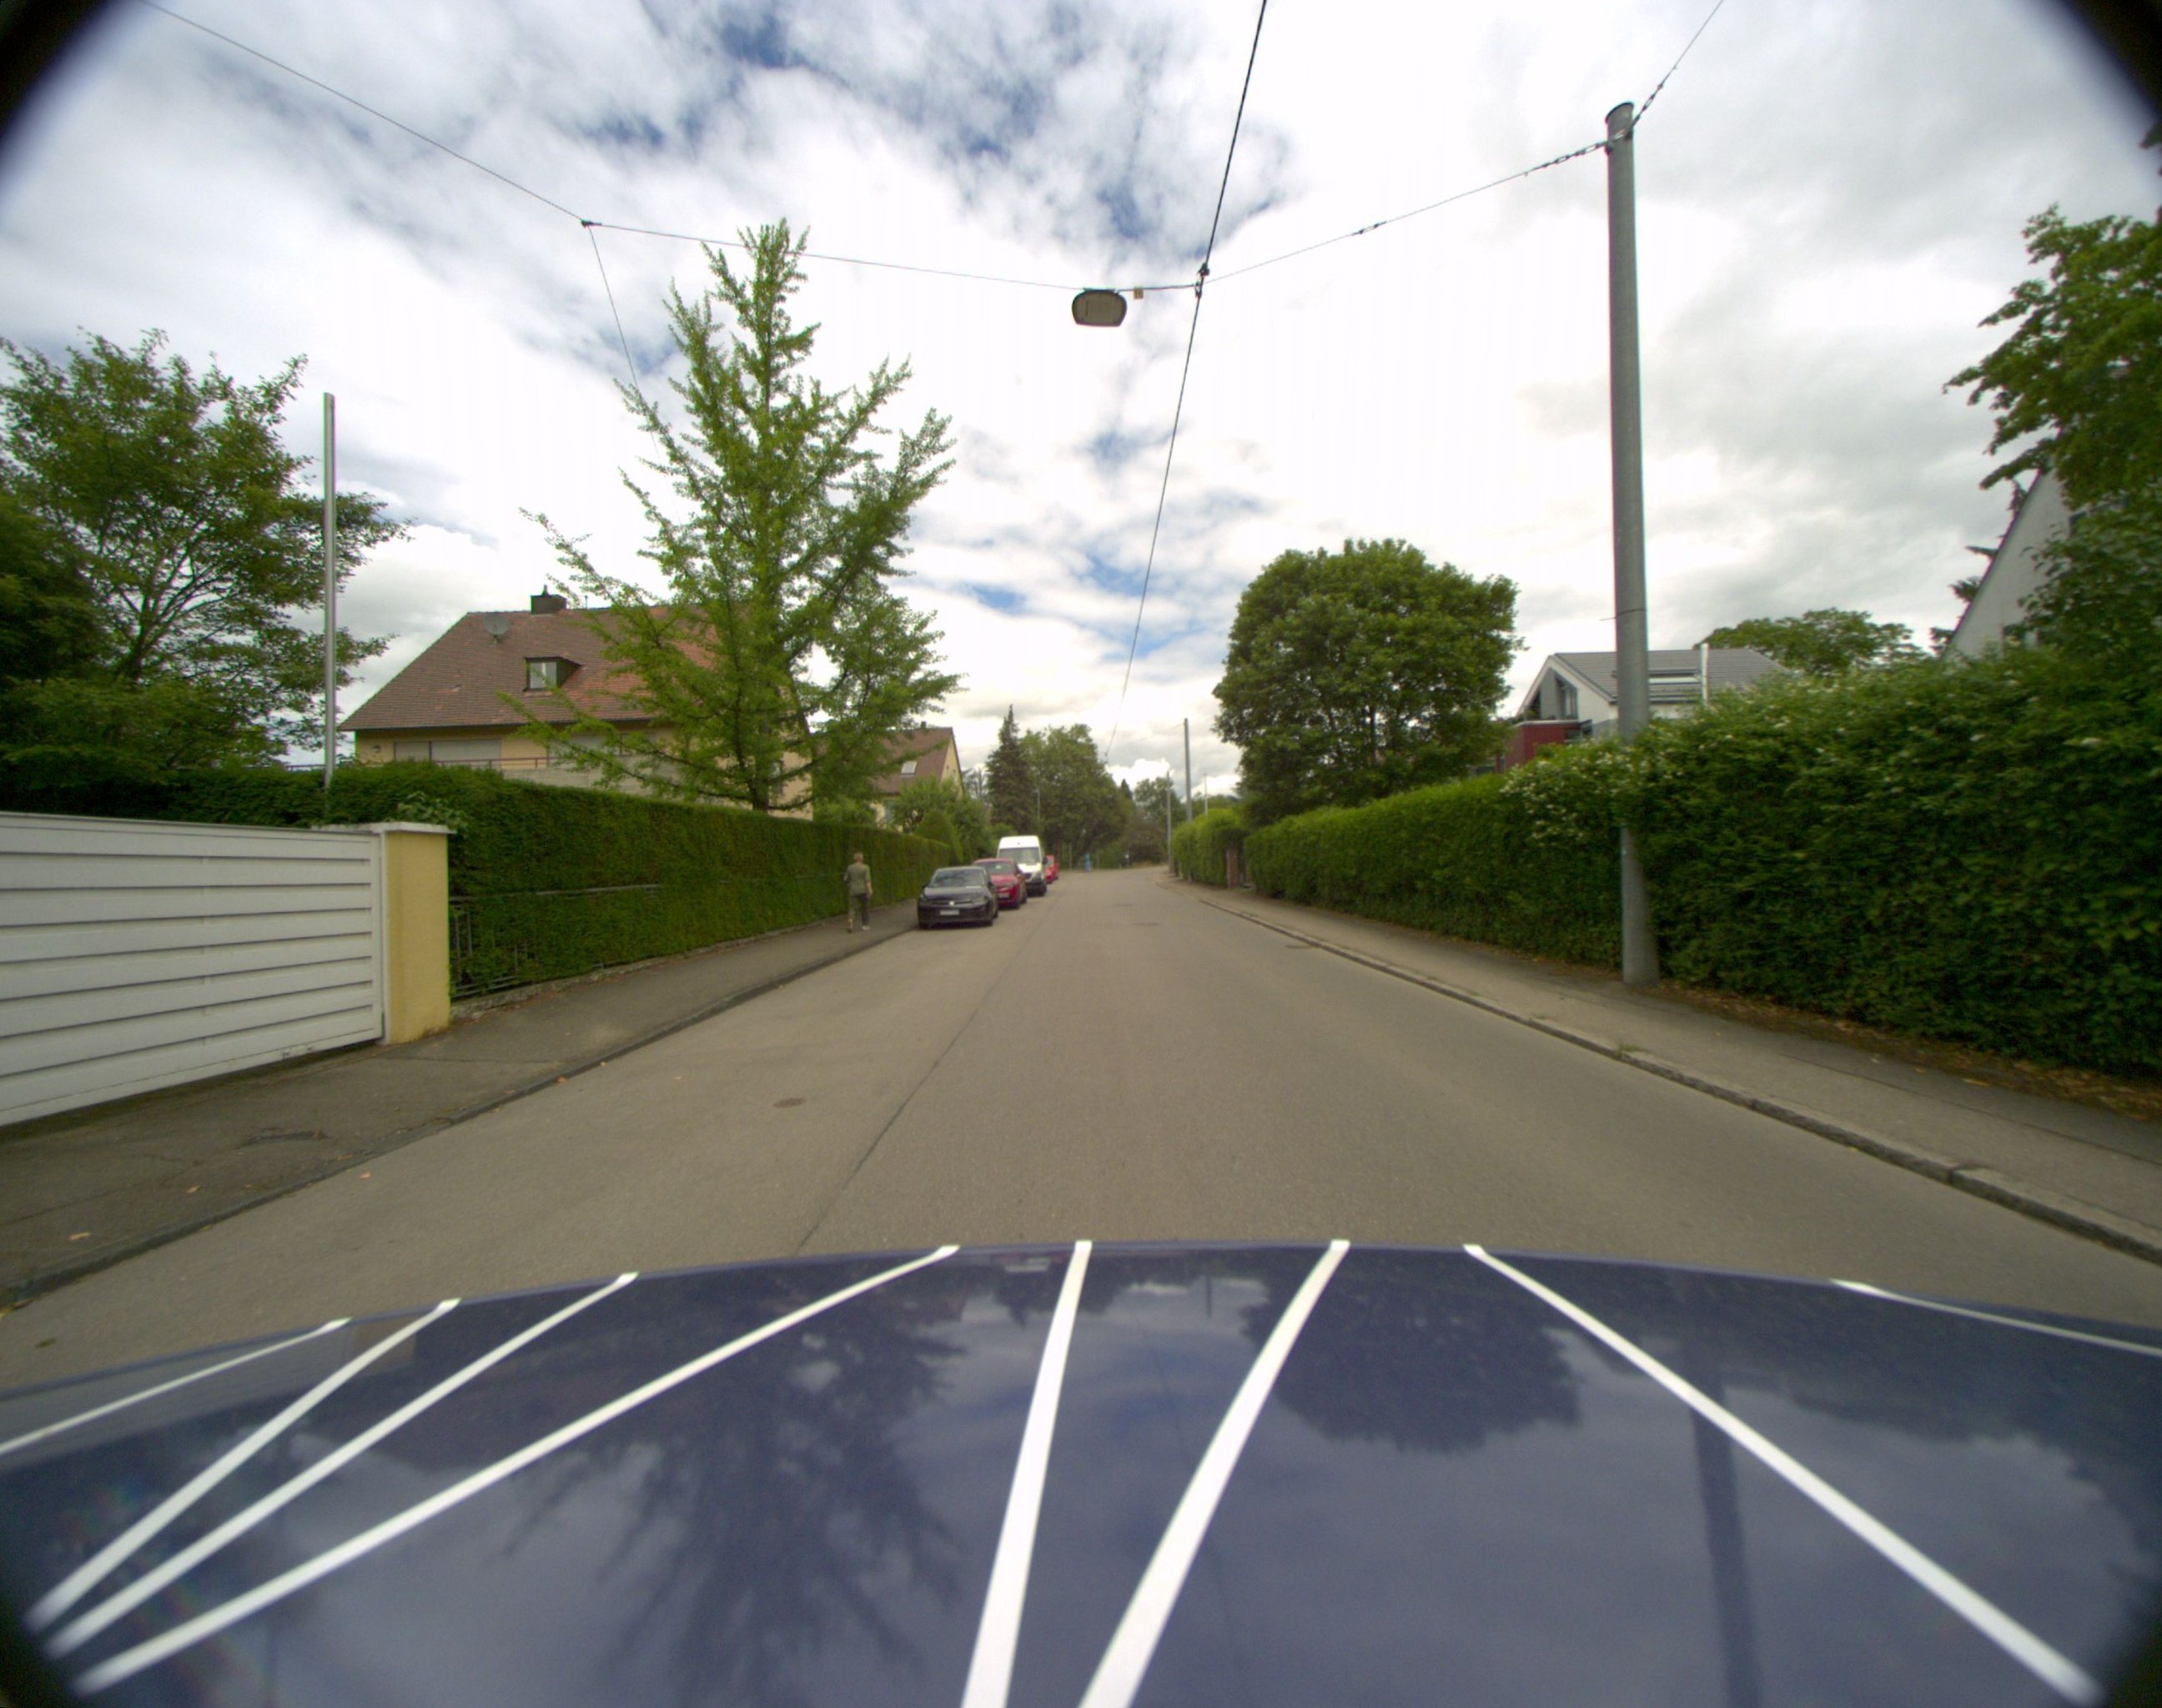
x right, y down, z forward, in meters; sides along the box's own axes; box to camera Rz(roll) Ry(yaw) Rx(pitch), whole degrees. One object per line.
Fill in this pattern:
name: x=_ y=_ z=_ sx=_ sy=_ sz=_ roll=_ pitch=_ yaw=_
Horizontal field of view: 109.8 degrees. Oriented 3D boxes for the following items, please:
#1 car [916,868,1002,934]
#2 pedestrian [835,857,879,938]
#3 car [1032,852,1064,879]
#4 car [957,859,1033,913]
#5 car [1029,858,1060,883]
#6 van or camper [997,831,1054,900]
car: x=-2.948 y=1.091 z=19.091 sx=1.683 sy=1.399 sz=4.052 roll=0 pitch=0 yaw=-3
pedestrian: x=-4.791 y=0.914 z=16.284 sx=0.671 sy=1.688 sz=0.918 roll=0 pitch=0 yaw=-1
car: x=-2.316 y=0.763 z=53.729 sx=1.771 sy=1.755 sz=4.162 roll=-2 pitch=0 yaw=3
car: x=-2.732 y=0.972 z=25.257 sx=1.893 sy=1.572 sz=4.765 roll=0 pitch=0 yaw=1
car: x=-2.238 y=1.026 z=47.987 sx=1.704 sy=1.421 sz=4.395 roll=-2 pitch=0 yaw=0
van or camper: x=-2.339 y=0.450 z=33.692 sx=2.046 sy=2.605 sz=7.037 roll=-3 pitch=0 yaw=-1
